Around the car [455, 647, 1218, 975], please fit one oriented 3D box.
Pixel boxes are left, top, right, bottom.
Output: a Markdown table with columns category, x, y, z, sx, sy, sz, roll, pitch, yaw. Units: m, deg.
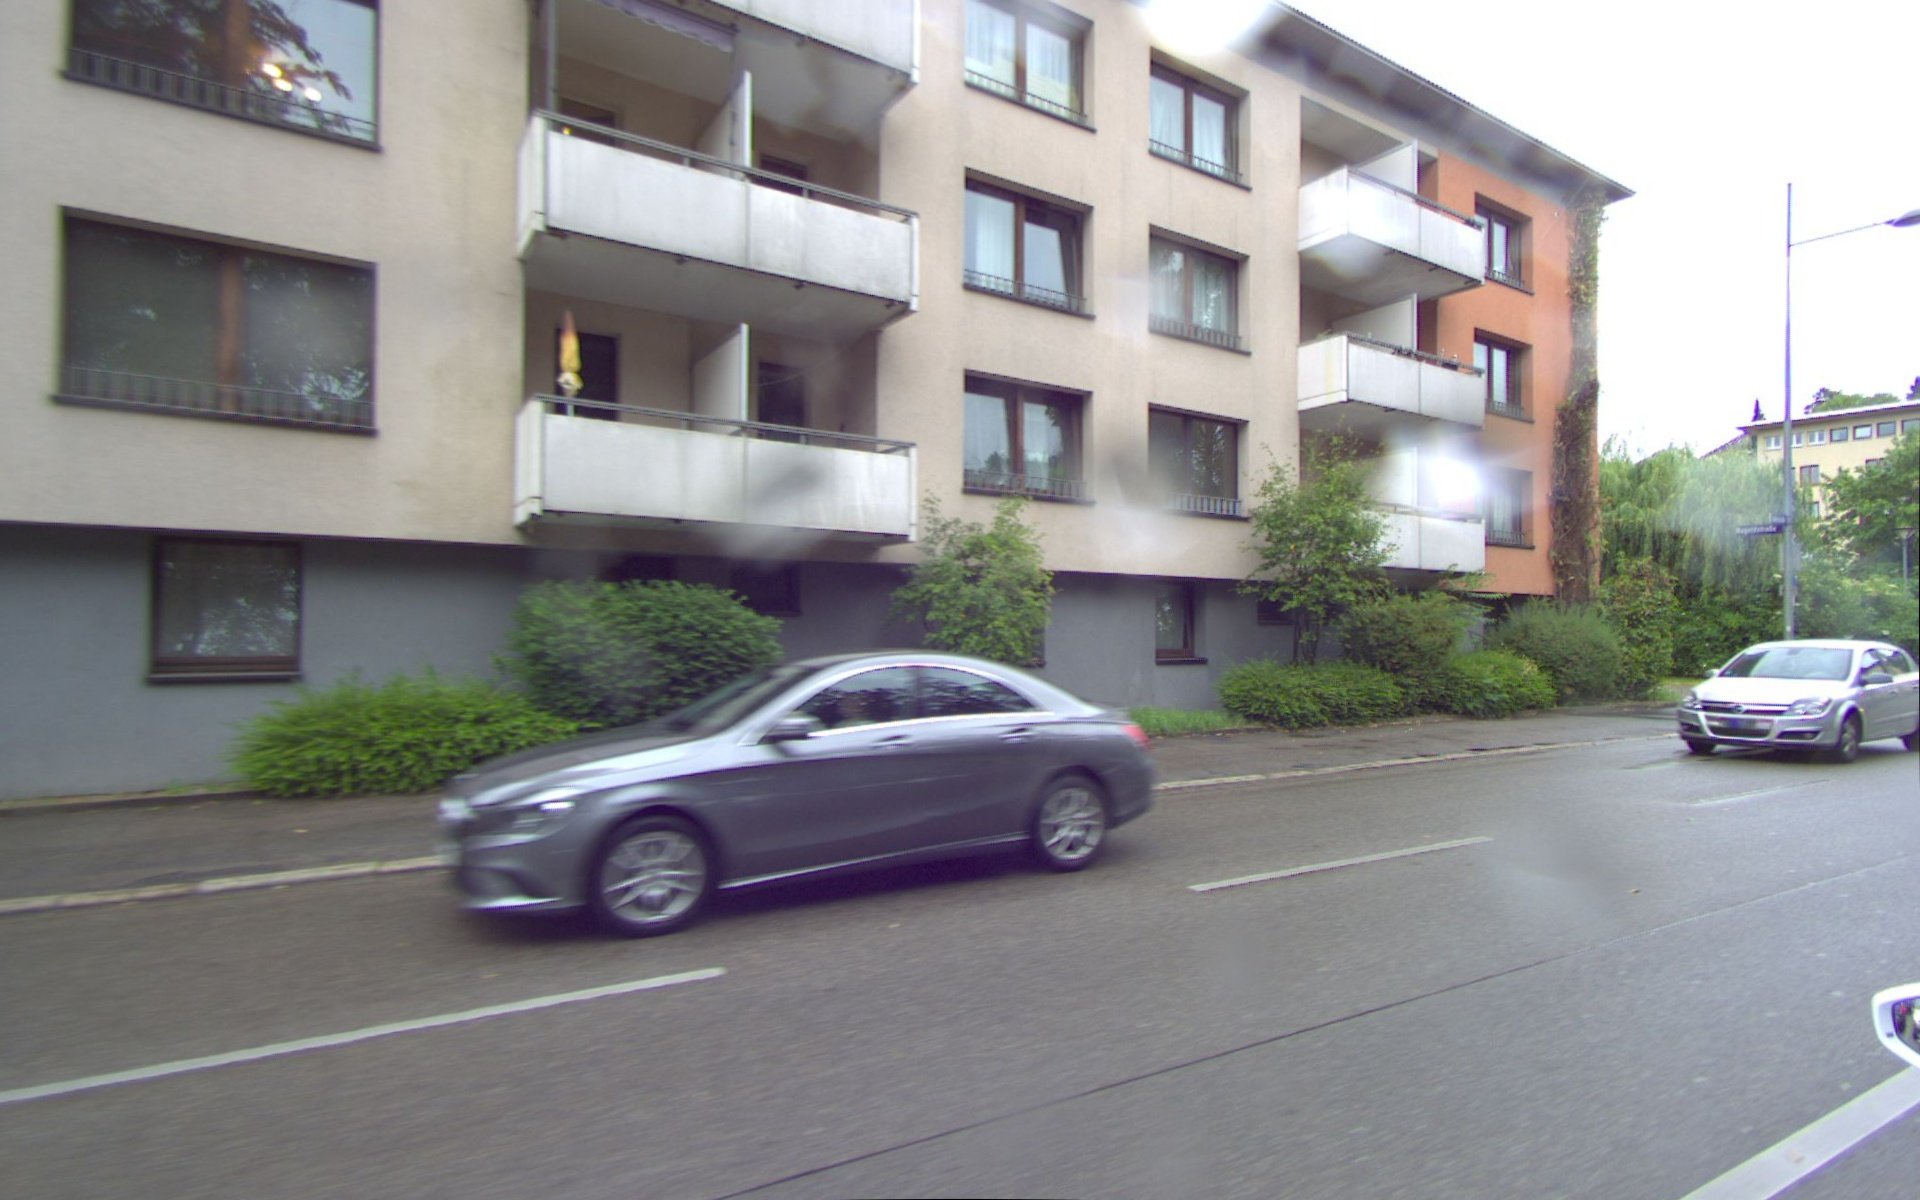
| category | x | y | z | sx | sy | sz | roll | pitch | yaw |
| --- | --- | --- | --- | --- | --- | --- | --- | --- | --- |
| car | -0.681 | 1.058 | 6.558 | 4.625 | 1.434 | 1.805 | 1 | -3 | -29 |

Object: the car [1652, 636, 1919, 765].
| category | x | y | z | sx | sy | sz | roll | pitch | yaw |
| --- | --- | --- | --- | --- | --- | --- | --- | --- | --- |
| car | 11.100 | 1.214 | 13.261 | 4.004 | 1.434 | 1.803 | 1 | -3 | -32 |
